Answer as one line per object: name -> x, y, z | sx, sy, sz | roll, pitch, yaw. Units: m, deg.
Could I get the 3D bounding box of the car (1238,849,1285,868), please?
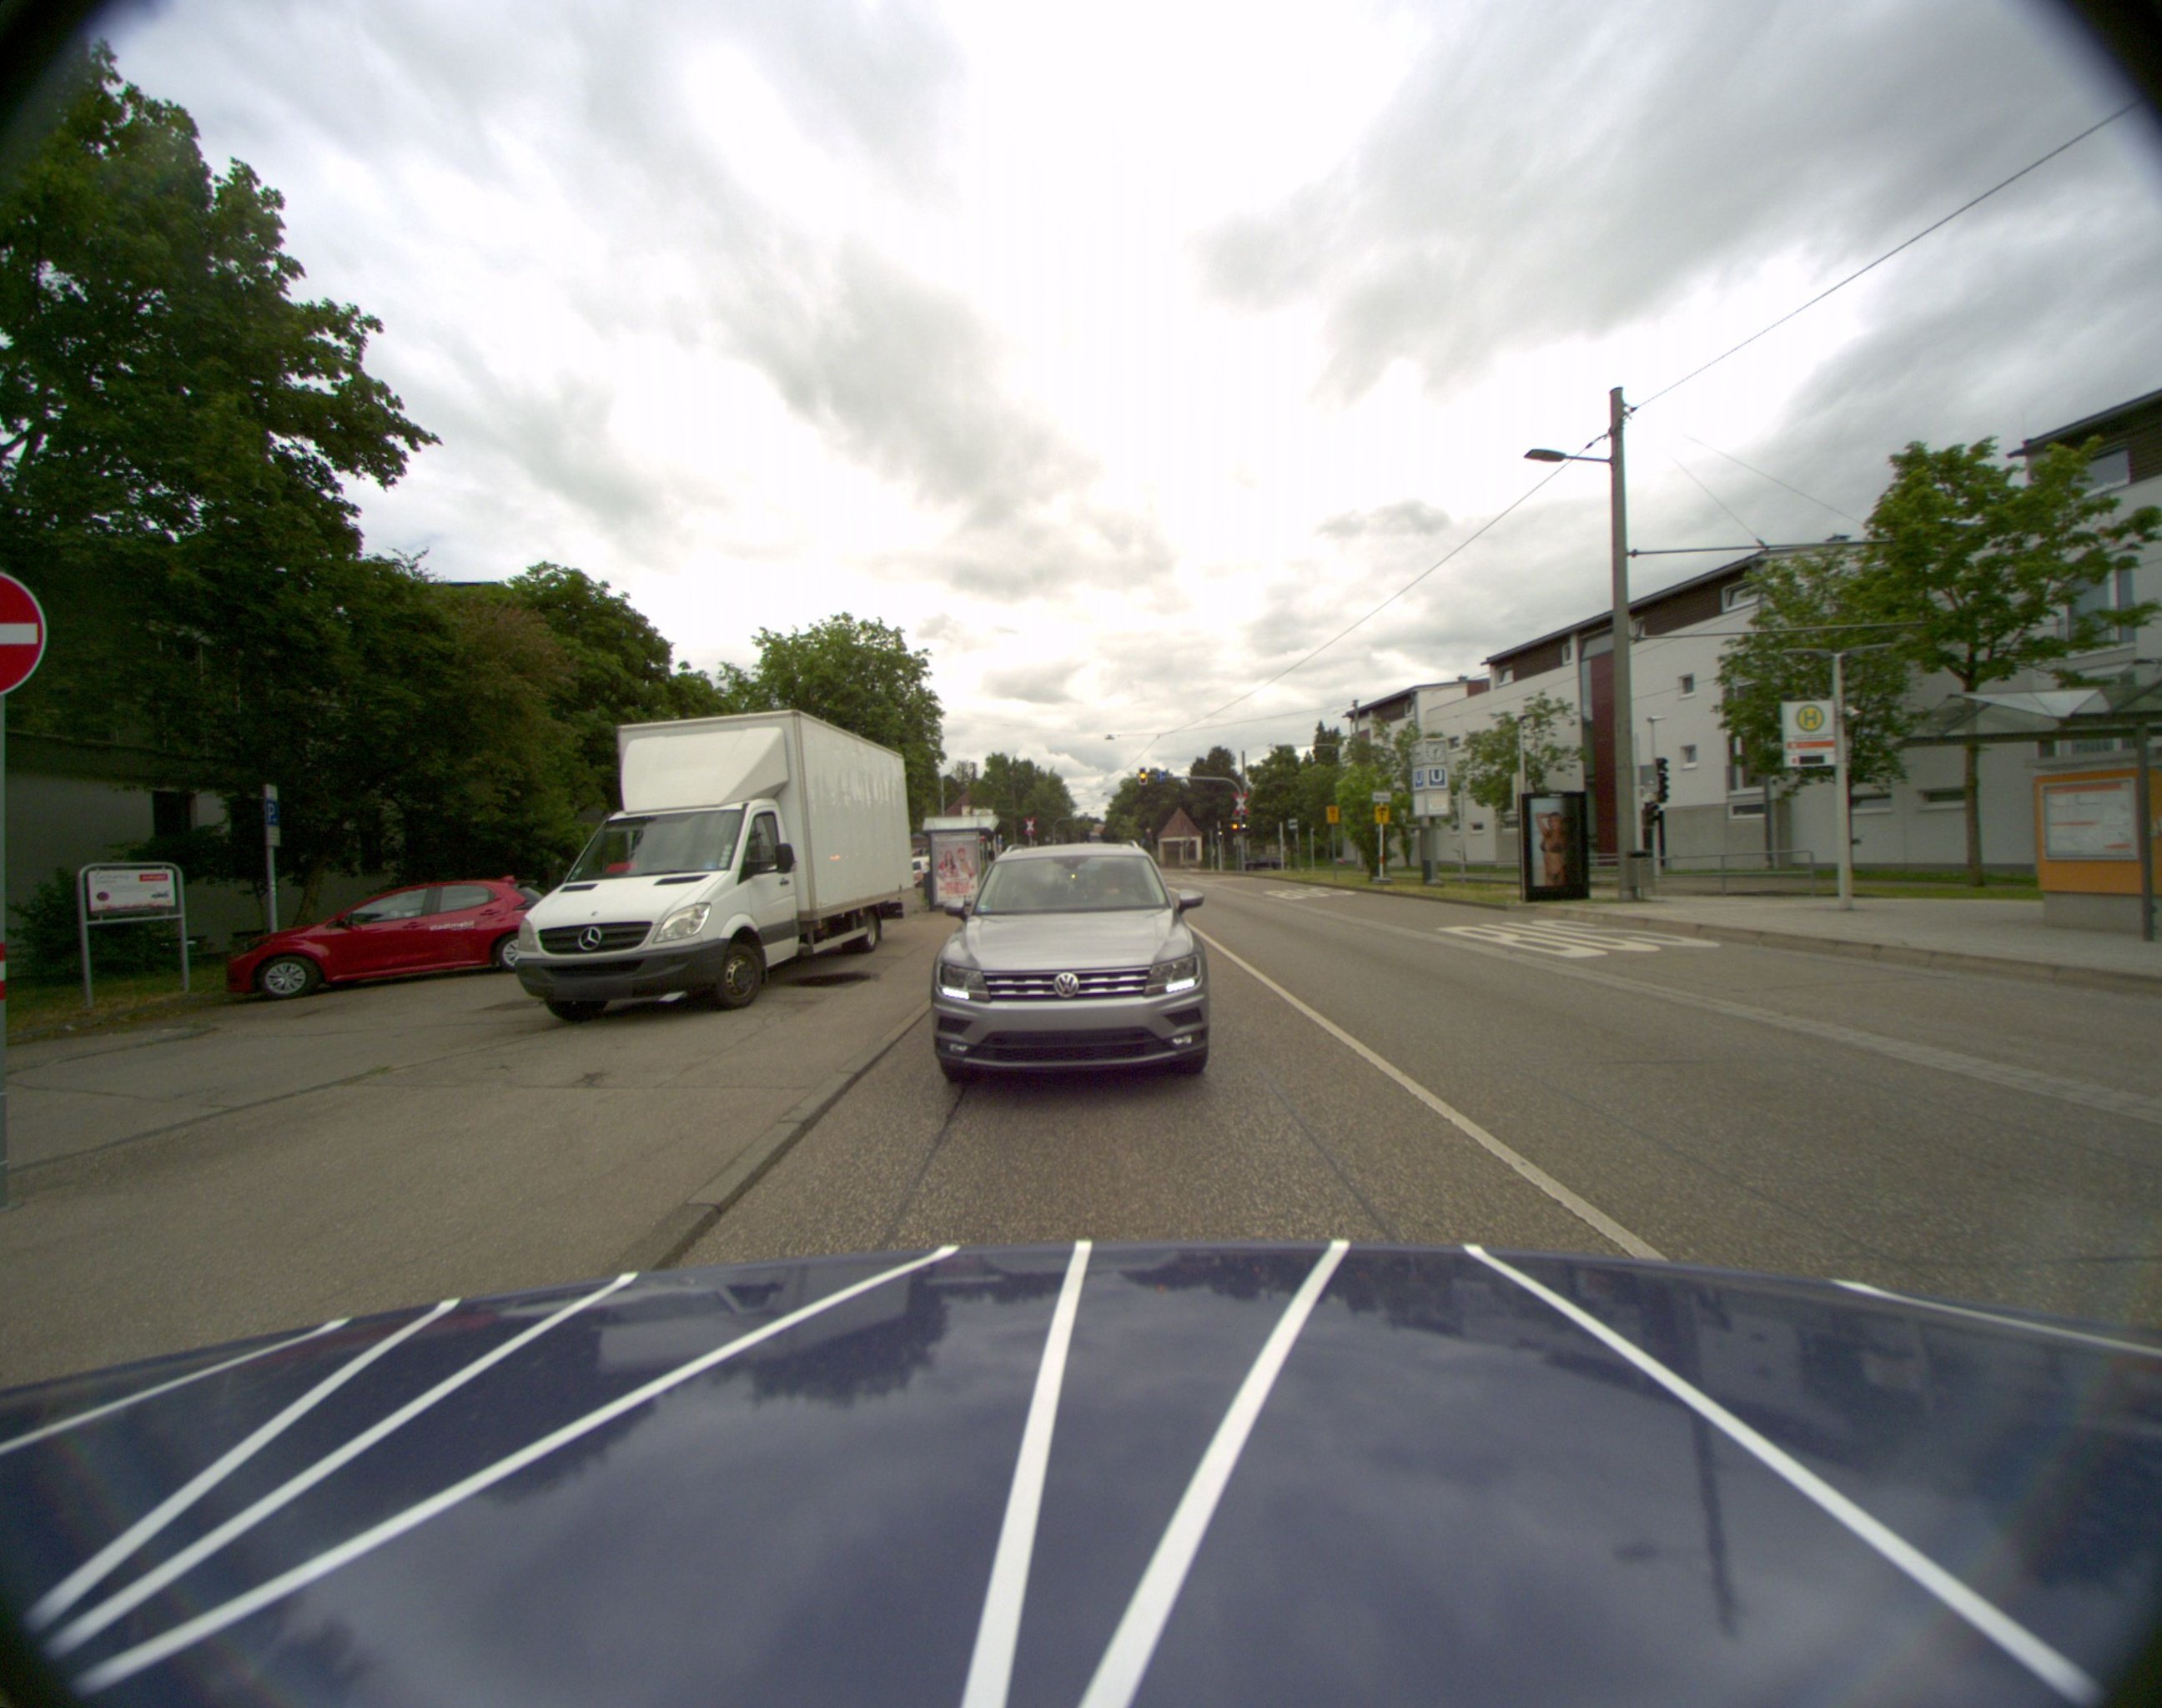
car -> 17.503, 0.439, 73.860 | 3.998, 1.696, 1.928 | -2, 1, -3

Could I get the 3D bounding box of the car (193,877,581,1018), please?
car -> -10.083, 1.271, 11.492 | 3.902, 1.475, 1.680 | -5, 2, -24

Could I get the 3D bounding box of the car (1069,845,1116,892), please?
car -> 0.501, 0.590, 33.506 | 1.849, 1.850, 4.000 | -2, 0, 1

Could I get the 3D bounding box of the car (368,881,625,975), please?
car -> -11.900, 1.438, 15.849 | 4.005, 1.402, 1.521 | -5, 2, -31

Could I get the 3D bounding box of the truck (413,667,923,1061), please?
truck -> -4.468, 0.043, 10.627 | 2.541, 3.407, 7.775 | -2, 1, 2

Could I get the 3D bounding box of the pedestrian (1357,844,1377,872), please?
pedestrian -> 16.932, 0.225, 44.972 | 0.782, 1.586, 0.780 | -2, 1, -8

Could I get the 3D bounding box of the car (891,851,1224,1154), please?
car -> -0.103, 0.832, 6.447 | 1.811, 1.638, 4.330 | -2, 0, 1

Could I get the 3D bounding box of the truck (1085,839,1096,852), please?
truck -> 2.993, -2.747, 246.128 | 3.288, 4.076, 8.580 | -2, 1, 1
